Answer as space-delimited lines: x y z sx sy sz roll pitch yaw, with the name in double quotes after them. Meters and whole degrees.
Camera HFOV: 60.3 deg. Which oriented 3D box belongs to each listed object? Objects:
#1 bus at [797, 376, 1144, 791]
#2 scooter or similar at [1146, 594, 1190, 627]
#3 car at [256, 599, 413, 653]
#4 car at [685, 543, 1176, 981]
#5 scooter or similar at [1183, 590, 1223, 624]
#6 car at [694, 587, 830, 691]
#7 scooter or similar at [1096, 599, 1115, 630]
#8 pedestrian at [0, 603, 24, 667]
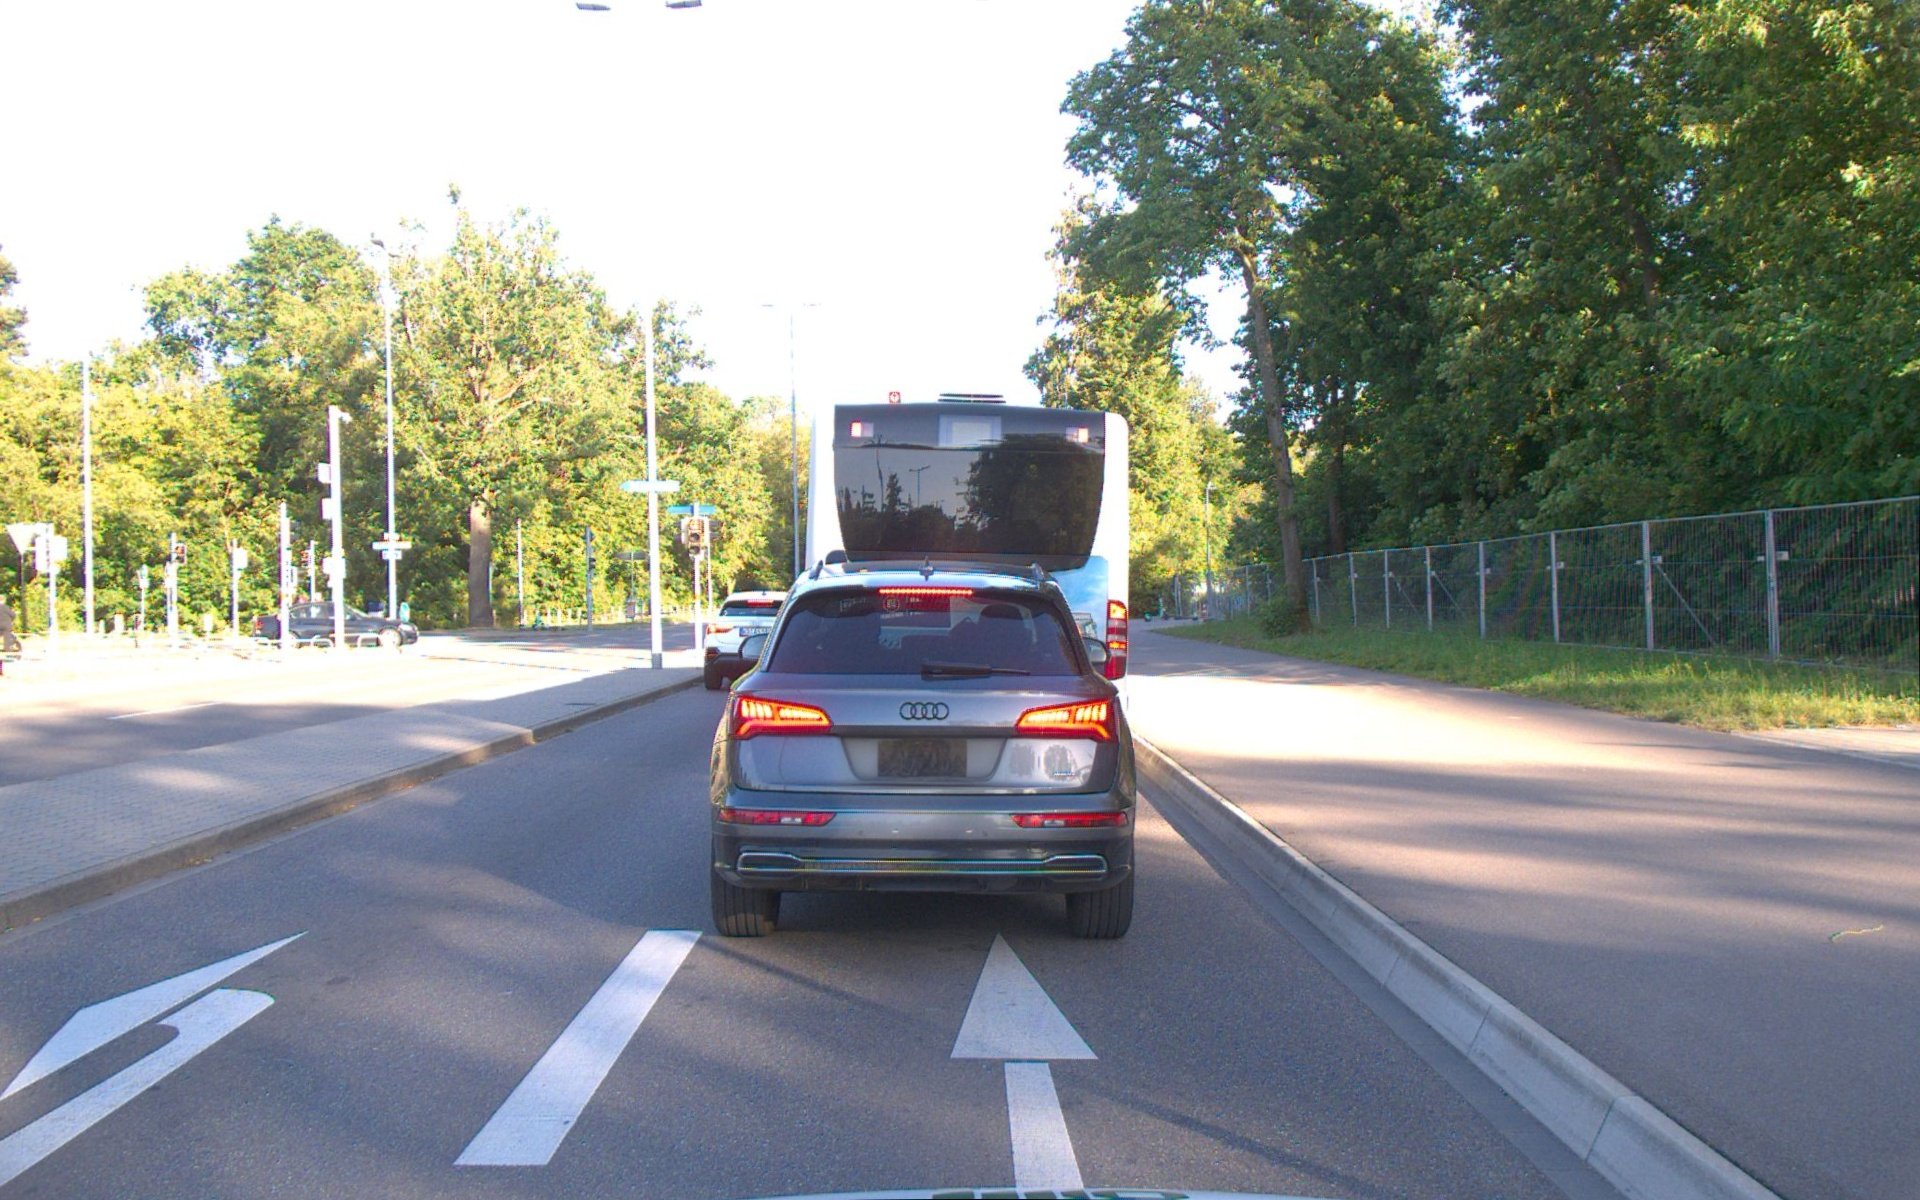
0.014 -0.091 16.830 2.542 3.041 9.324 0 0 -1 "bus"
9.807 0.499 77.994 1.991 1.469 0.601 -2 0 -26 "scooter or similar"
-17.965 0.724 47.686 4.034 1.411 1.745 -1 0 -15 "car"
-0.138 0.614 8.326 1.860 1.660 3.999 1 0 -1 "car"
11.649 0.342 79.320 0.535 1.594 1.993 -2 0 -40 "scooter or similar"
-3.191 0.590 27.362 1.799 1.545 3.999 -1 0 -1 "car"
7.101 0.689 80.737 0.498 1.469 2.020 -2 0 -6 "scooter or similar"
-24.143 0.878 41.861 0.643 1.587 0.531 -1 0 -43 "pedestrian"
